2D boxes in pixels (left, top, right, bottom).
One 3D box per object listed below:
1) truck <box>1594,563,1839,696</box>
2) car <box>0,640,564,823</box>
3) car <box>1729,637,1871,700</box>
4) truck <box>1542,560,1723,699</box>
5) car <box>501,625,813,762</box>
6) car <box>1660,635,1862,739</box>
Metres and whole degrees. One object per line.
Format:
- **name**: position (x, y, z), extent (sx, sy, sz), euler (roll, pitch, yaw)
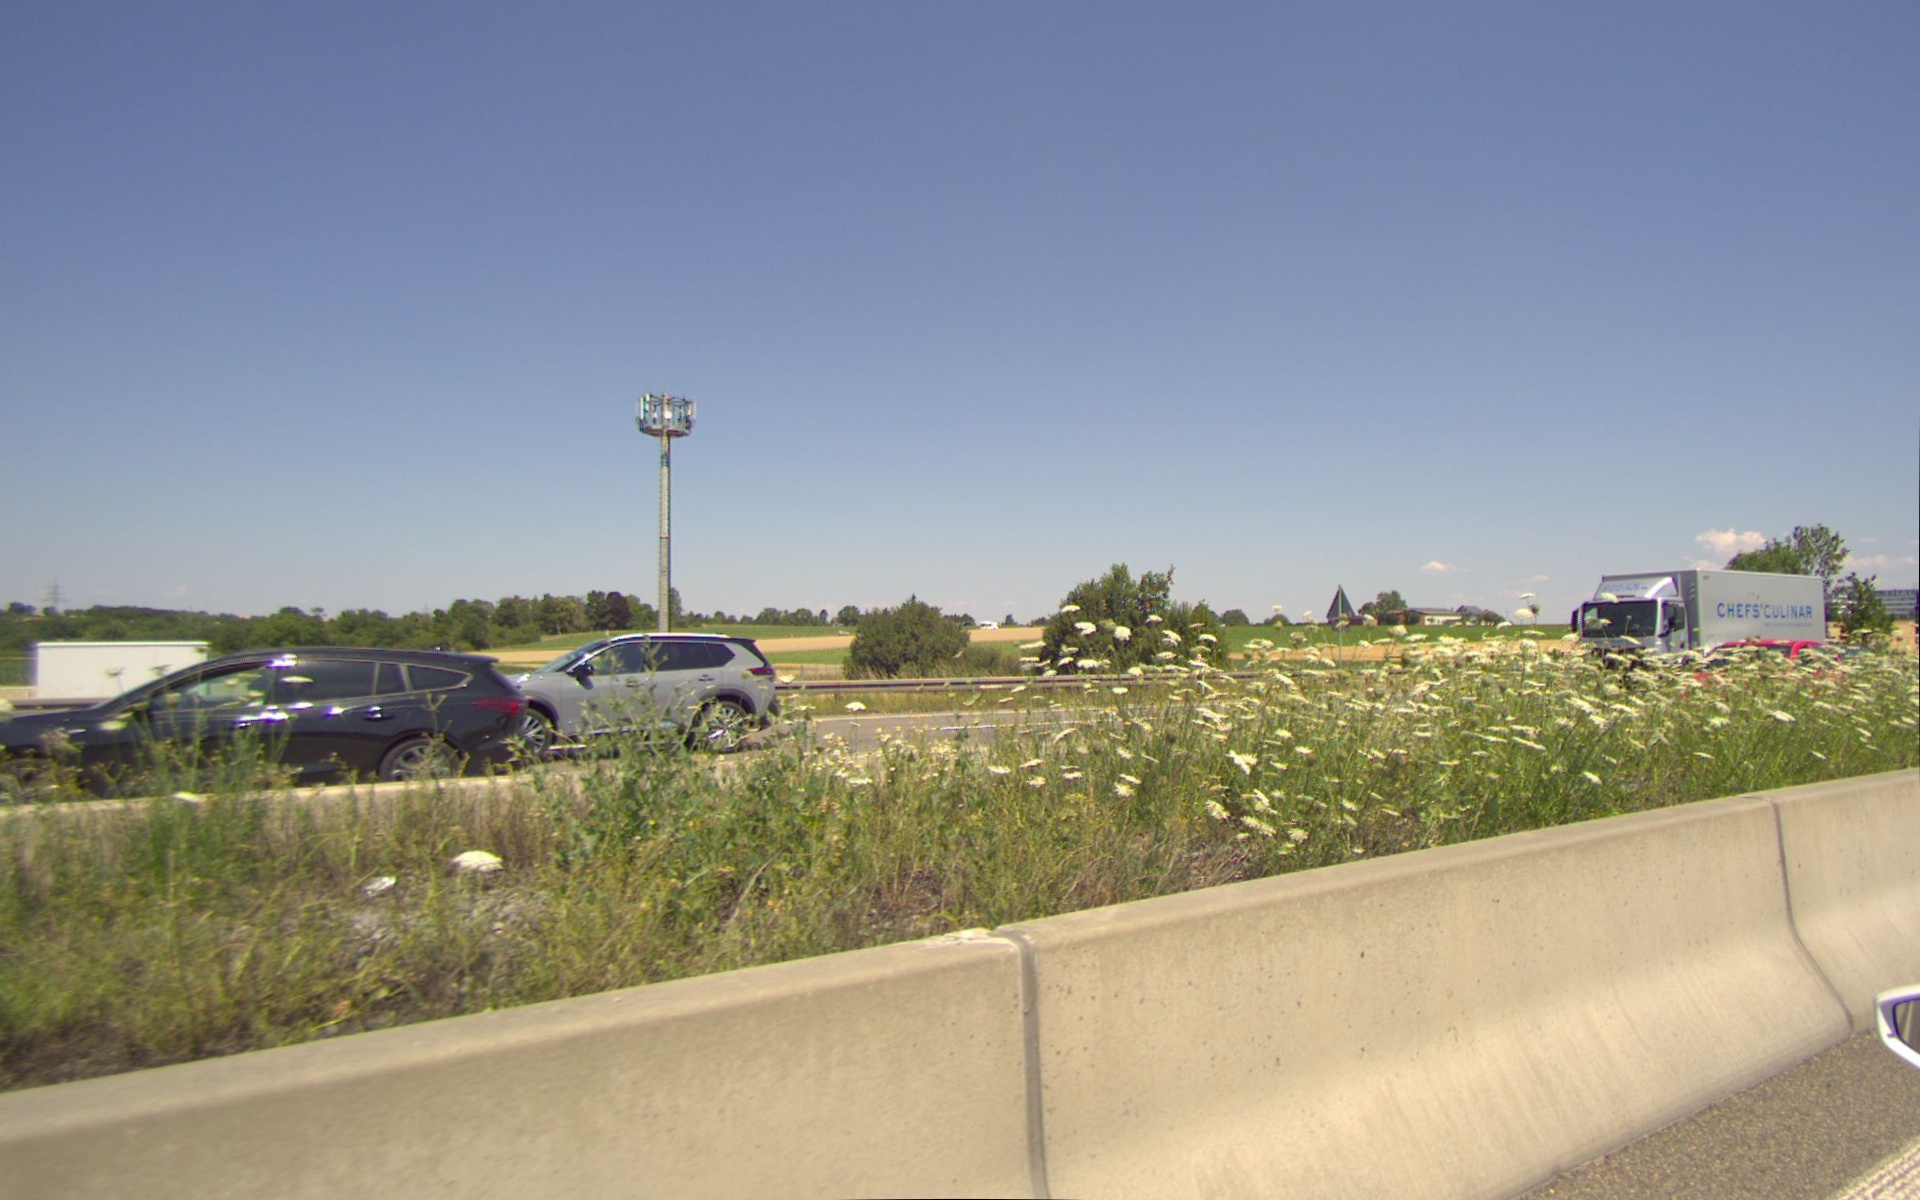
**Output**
- **truck**: position (23.393, 0.952, 30.909), extent (8.680, 3.667, 2.688), euler (1, -3, -29)
- **car**: position (-6.062, 1.063, 9.277), extent (4.234, 1.341, 1.823), euler (1, -3, -33)
- **car**: position (20.996, 1.682, 25.090), extent (3.793, 1.460, 1.551), euler (1, -4, -31)
- **truck**: position (18.980, 0.870, 28.401), extent (3.952, 3.634, 2.687), euler (1, -3, -29)
- **car**: position (-4.366, 1.285, 14.624), extent (4.033, 1.742, 1.824), euler (1, -3, -31)
- **car**: position (13.718, 1.409, 17.165), extent (3.662, 1.591, 1.551), euler (1, -2, -31)
